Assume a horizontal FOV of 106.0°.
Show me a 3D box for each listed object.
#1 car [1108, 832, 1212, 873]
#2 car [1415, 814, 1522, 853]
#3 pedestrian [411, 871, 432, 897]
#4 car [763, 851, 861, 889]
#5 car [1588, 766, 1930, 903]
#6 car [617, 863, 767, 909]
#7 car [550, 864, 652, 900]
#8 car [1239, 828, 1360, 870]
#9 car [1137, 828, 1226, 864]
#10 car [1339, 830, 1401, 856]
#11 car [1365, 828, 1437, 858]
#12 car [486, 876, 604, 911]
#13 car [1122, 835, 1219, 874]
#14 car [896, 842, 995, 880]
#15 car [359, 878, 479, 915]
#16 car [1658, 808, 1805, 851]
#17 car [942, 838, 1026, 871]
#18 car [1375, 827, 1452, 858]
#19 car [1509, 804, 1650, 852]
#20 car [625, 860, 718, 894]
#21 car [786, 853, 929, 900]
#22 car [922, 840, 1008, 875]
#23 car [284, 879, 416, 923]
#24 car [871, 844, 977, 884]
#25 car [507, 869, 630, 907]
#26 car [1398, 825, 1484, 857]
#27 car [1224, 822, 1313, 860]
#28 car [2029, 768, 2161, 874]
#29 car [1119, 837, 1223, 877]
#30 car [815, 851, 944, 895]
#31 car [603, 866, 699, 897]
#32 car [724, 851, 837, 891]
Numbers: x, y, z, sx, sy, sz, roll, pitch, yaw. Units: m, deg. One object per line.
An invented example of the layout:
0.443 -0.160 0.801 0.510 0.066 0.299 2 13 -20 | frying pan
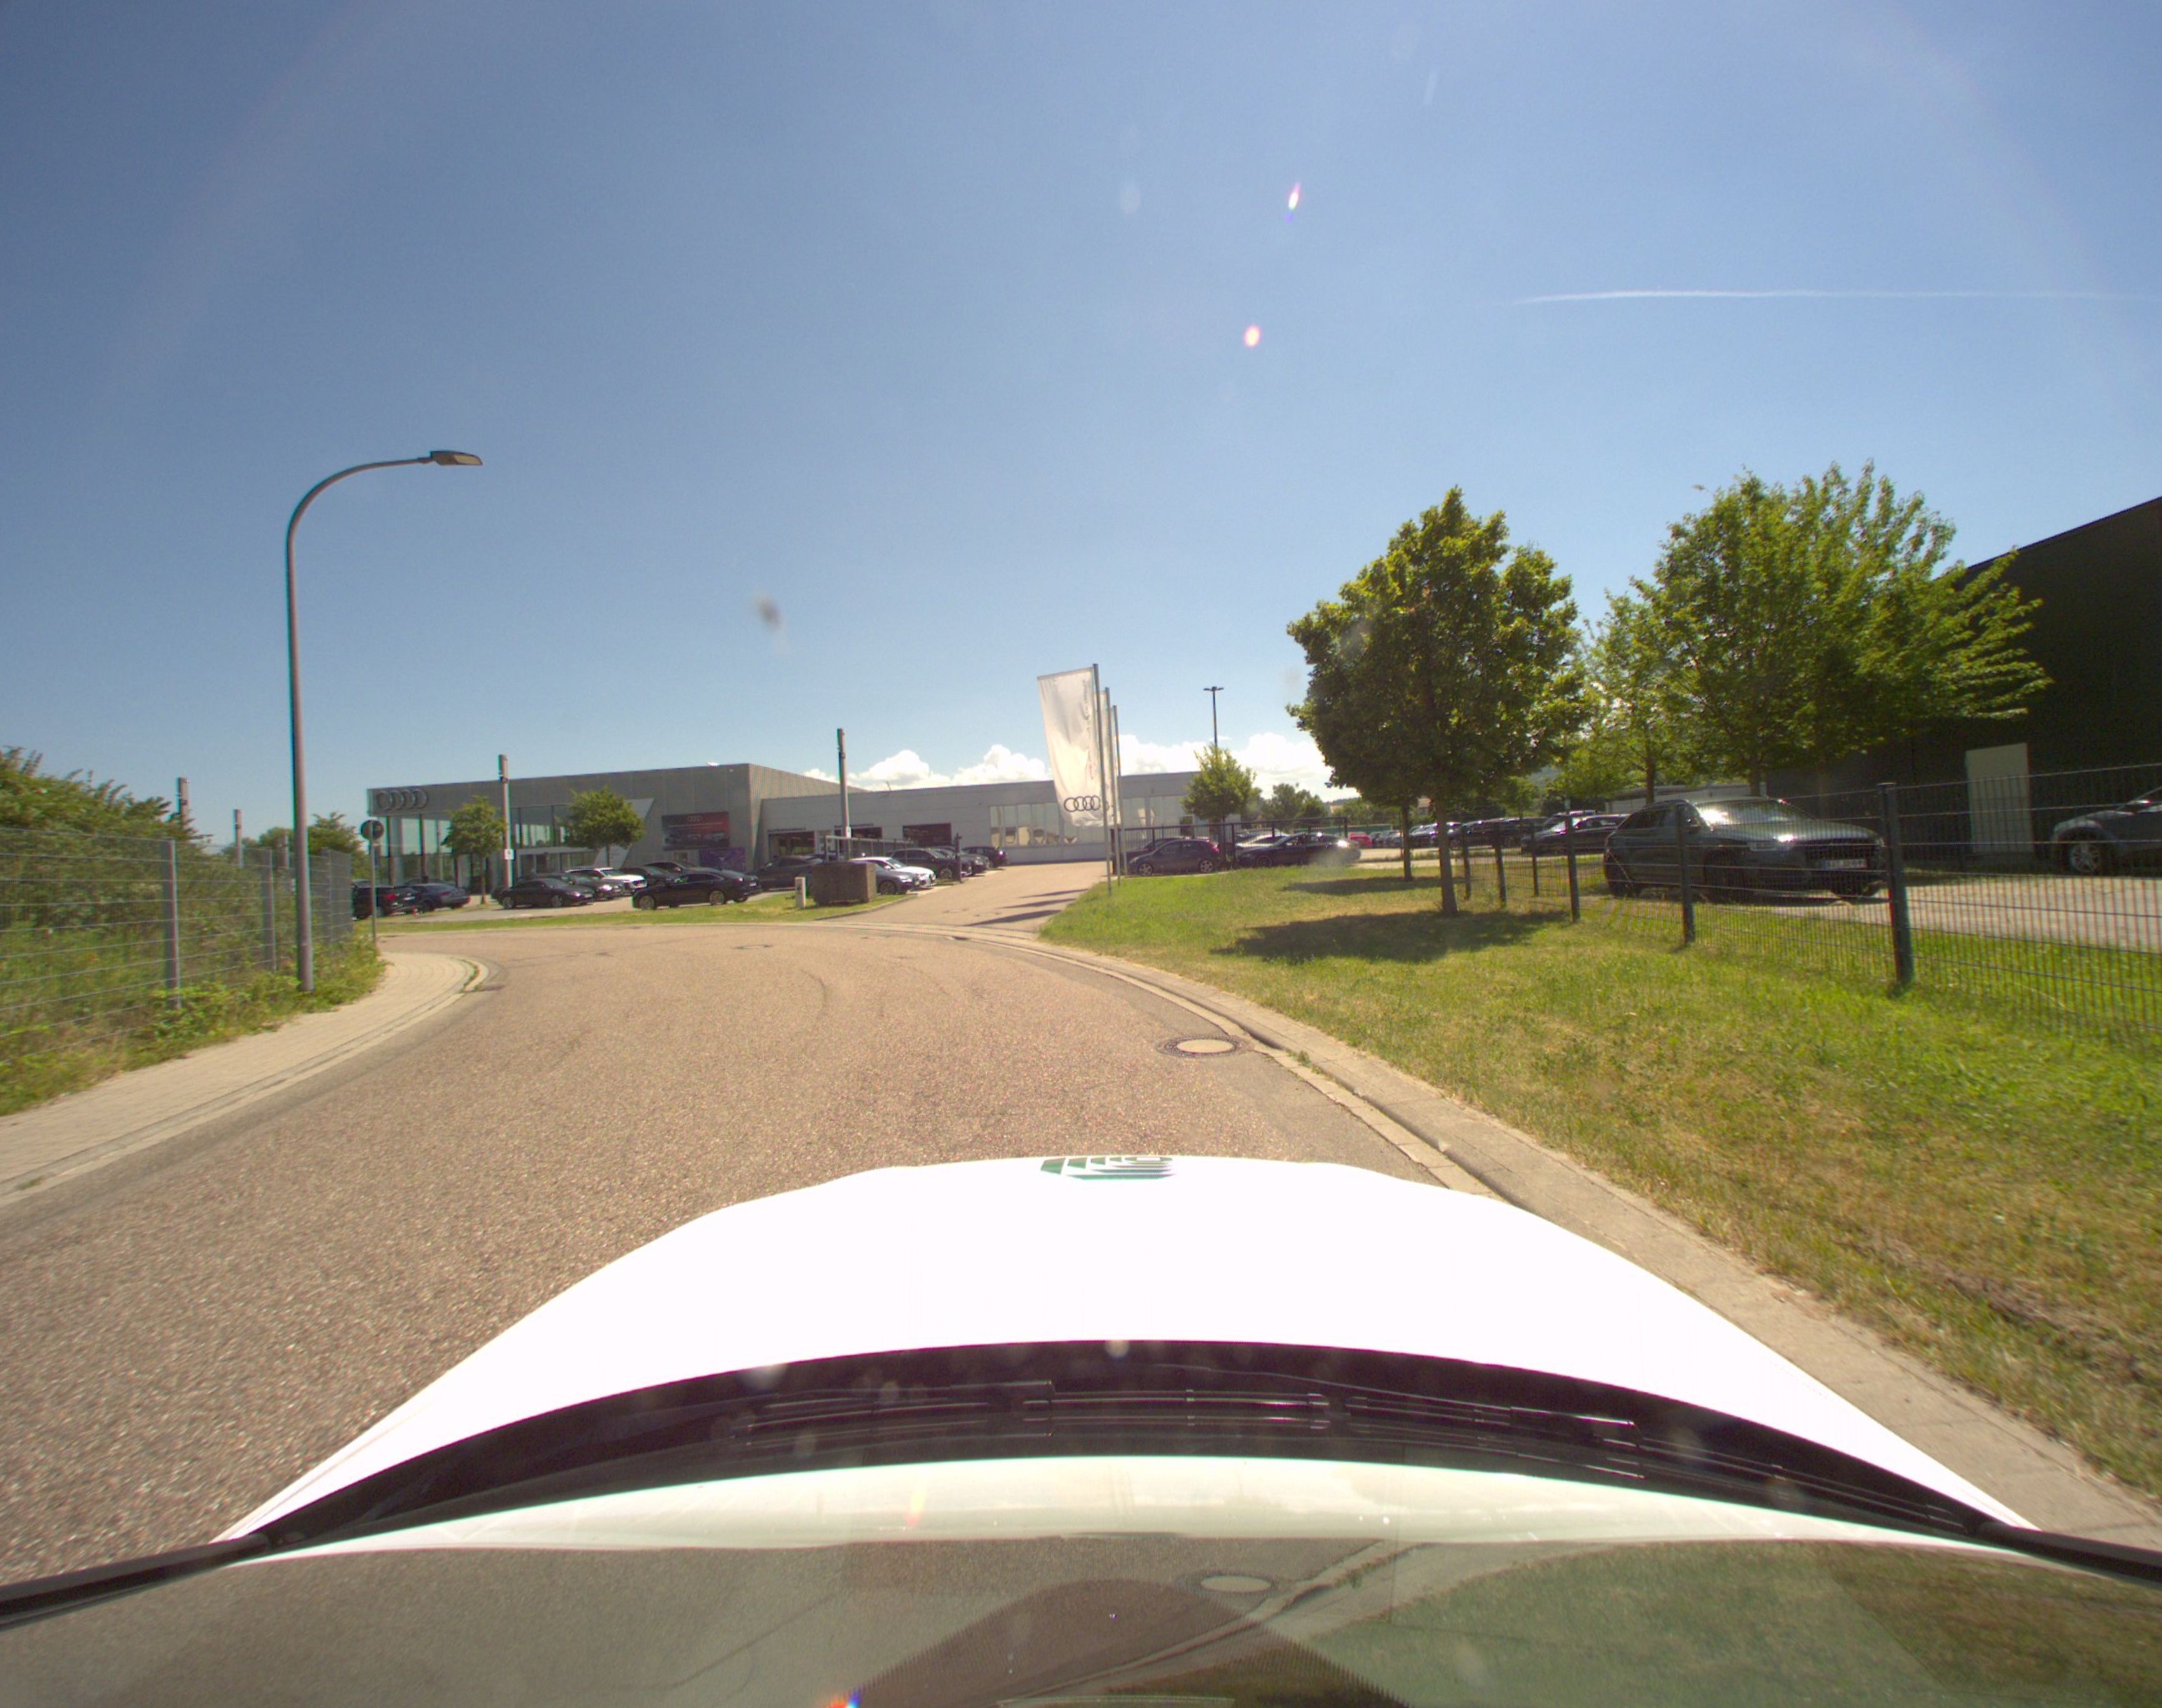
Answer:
3.654 -0.080 37.724 4.589 1.630 1.971 -3 1 4 | car
19.697 -1.032 41.574 4.447 1.688 2.000 -3 0 1 | car
-47.074 2.150 58.105 0.738 1.776 0.775 -4 0 11 | pedestrian
-14.020 0.827 42.542 4.382 1.694 1.833 -3 0 4 | car
9.715 -0.184 12.227 1.766 1.601 4.289 -3 -2 5 | car
-15.373 1.235 32.326 4.984 1.454 1.888 -3 2 4 | car
-25.782 1.470 43.850 4.254 1.613 1.971 -3 1 5 | car
8.789 -0.204 33.059 4.532 1.401 1.785 -3 1 8 | car
5.380 -0.428 43.852 4.589 1.630 1.970 -4 0 4 | car
22.245 -0.843 62.764 3.973 1.688 2.000 -3 0 1 | car
21.236 -0.707 54.200 3.973 1.688 2.000 -3 0 1 | car
-25.368 1.860 38.642 4.277 1.374 1.971 -2 1 4 | car
4.413 -0.003 40.290 4.589 1.630 1.971 -3 1 4 | car
-7.007 0.347 42.389 4.589 1.630 1.971 -3 1 4 | car
-32.090 2.047 39.539 4.194 1.366 1.971 -3 2 5 | car
25.244 -0.944 31.729 4.135 1.357 1.784 -3 1 7 | car
-5.749 0.017 48.753 4.589 1.630 1.971 -3 1 4 | car
20.828 -0.708 51.146 3.971 1.688 2.002 -3 0 3 | car
19.629 -1.013 32.211 4.367 1.566 1.784 -3 1 7 | car
-25.298 1.421 50.378 4.691 1.739 1.971 -3 1 4 | car
-8.643 0.863 31.819 4.905 1.467 1.971 -3 1 4 | car
-6.475 0.182 45.796 4.343 1.630 1.971 -3 1 4 | car
-32.635 2.061 36.438 4.194 1.571 1.896 -3 2 4 | car
-7.553 0.479 39.465 4.589 1.630 1.971 -3 1 4 | car
-25.917 1.690 41.286 4.966 1.553 1.971 -3 1 4 | car
20.485 -0.714 46.459 3.968 1.556 2.115 -3 0 4 | car
9.640 -0.656 42.158 4.180 1.630 1.798 -4 0 4 | car
16.923 -0.554 11.747 1.766 1.567 4.178 -3 -2 5 | car
3.757 0.105 33.923 4.109 1.349 1.784 -3 1 7 | car
-8.509 0.805 34.627 4.905 1.528 1.828 -3 1 4 | car
-24.480 1.556 46.449 4.337 1.476 1.971 -3 1 4 | car
-14.684 0.829 39.951 4.748 1.643 1.833 -3 0 4 | car
